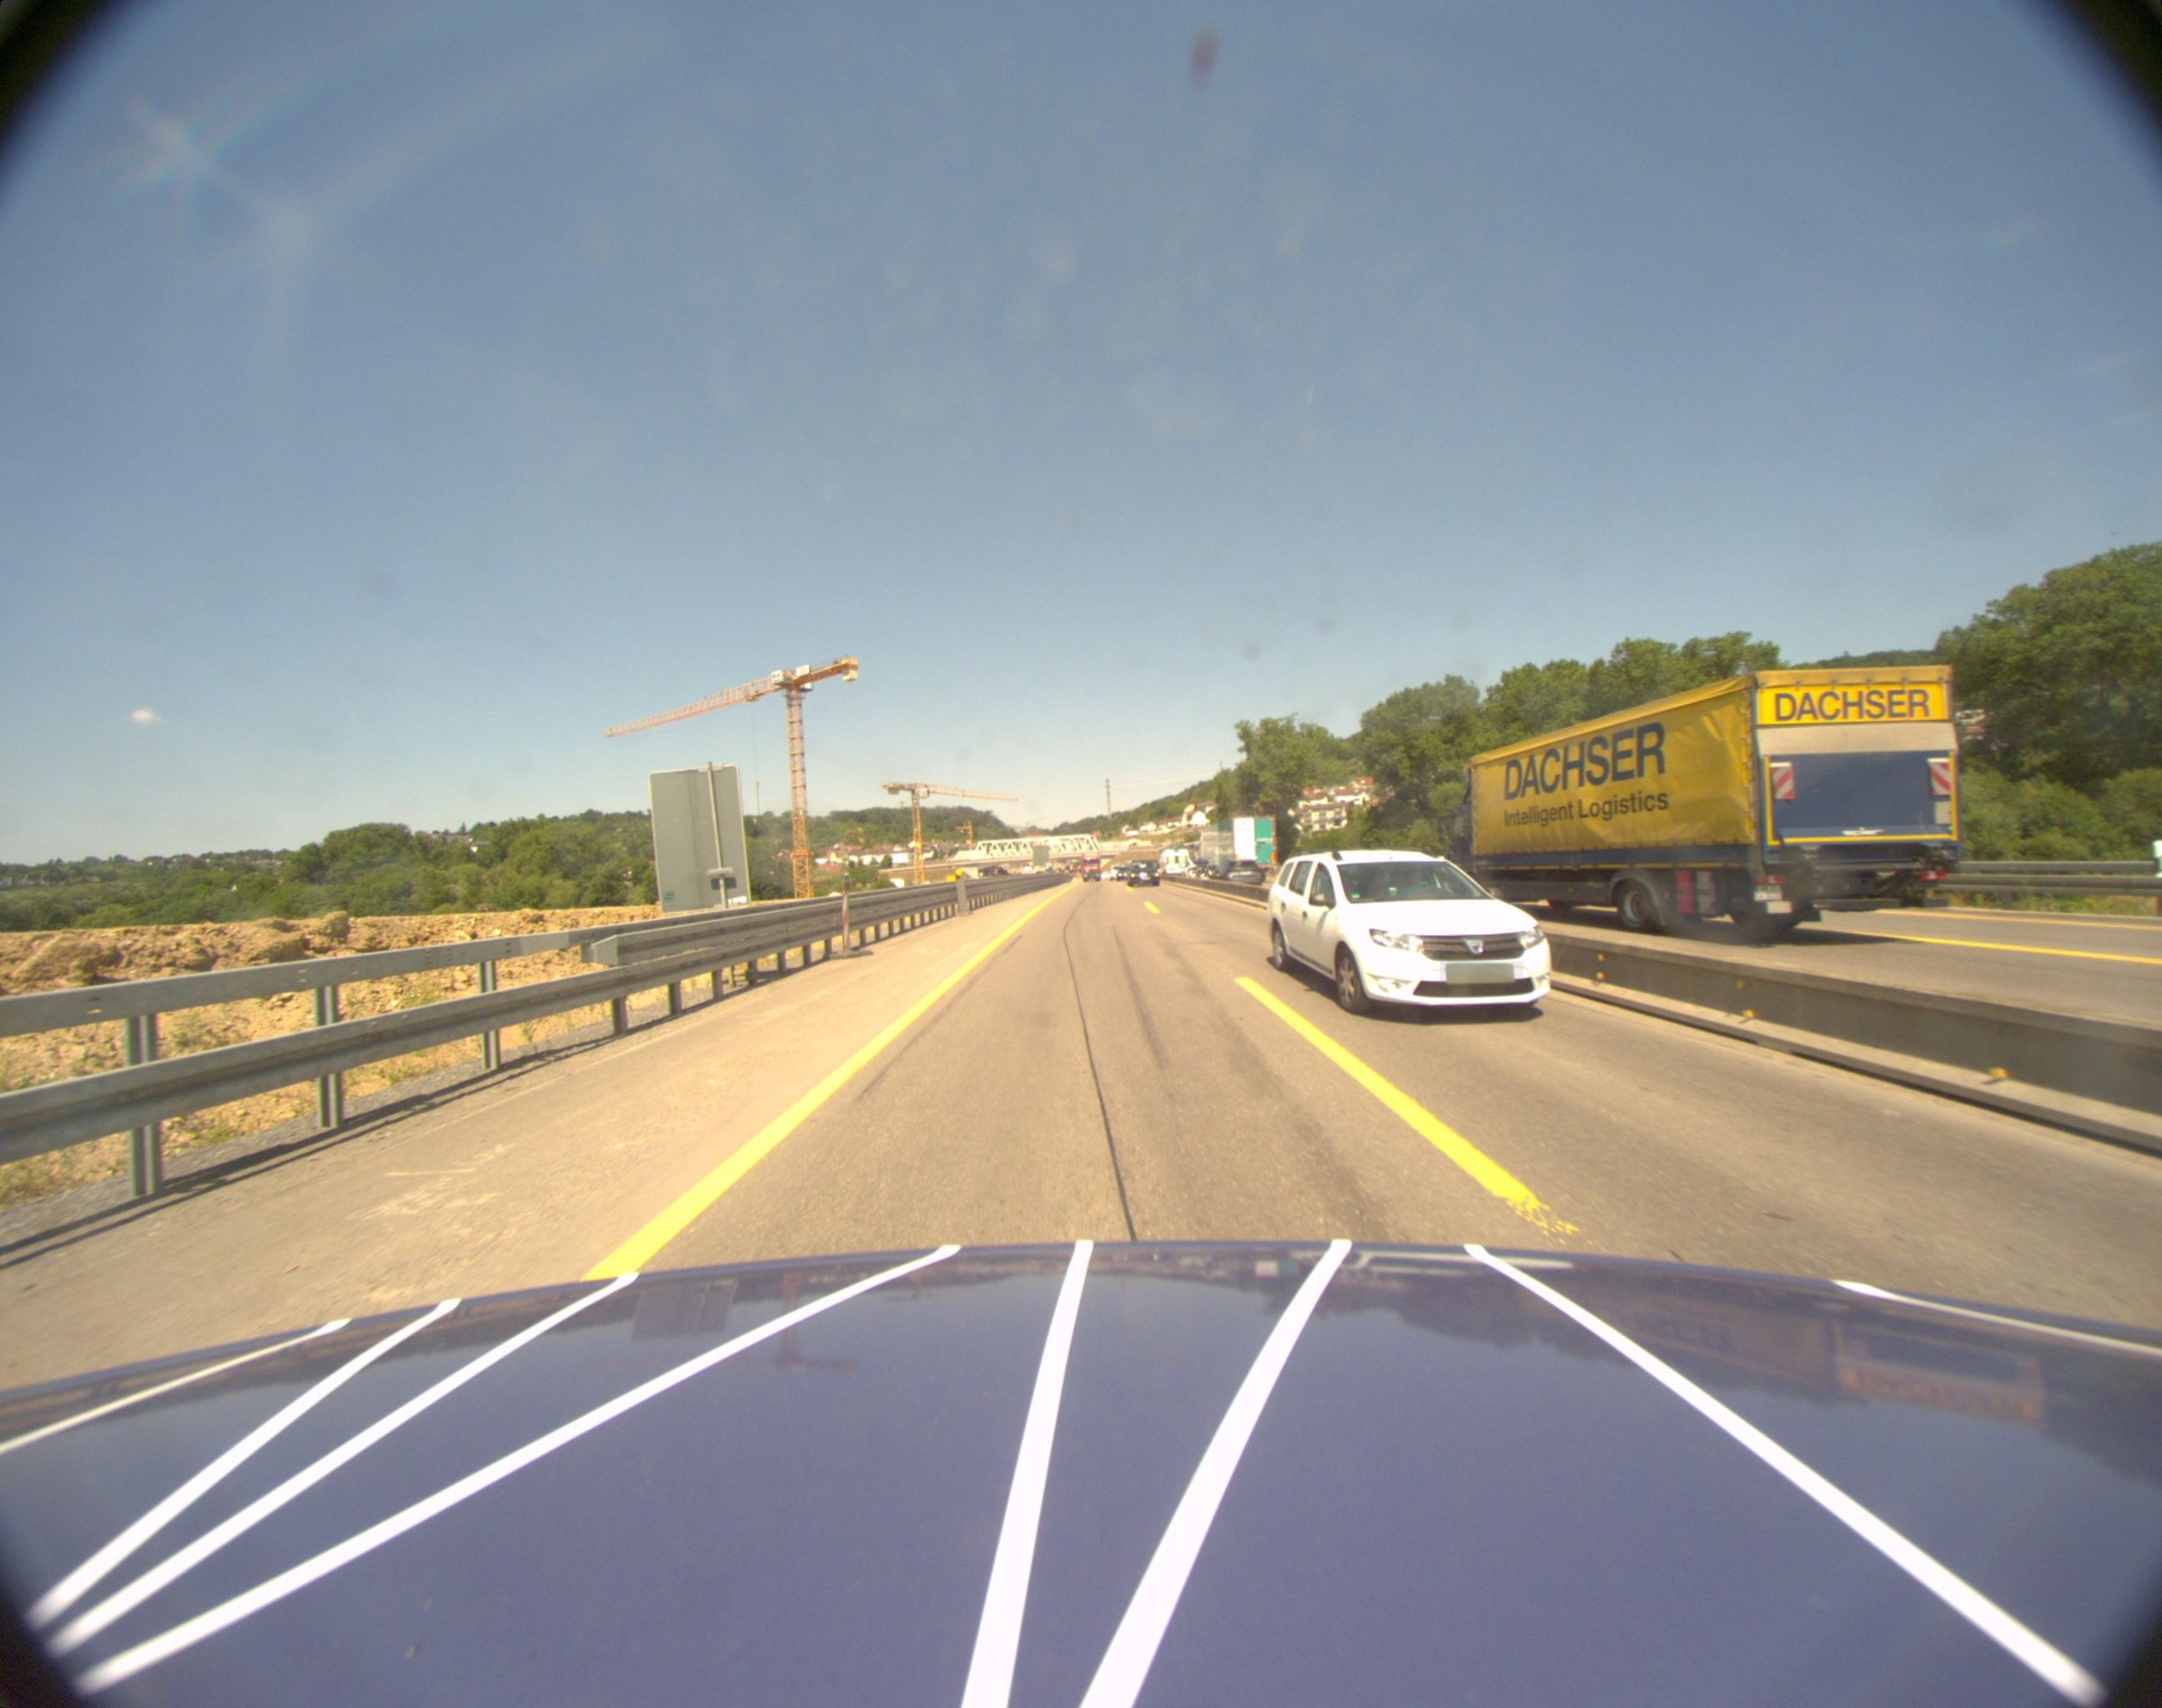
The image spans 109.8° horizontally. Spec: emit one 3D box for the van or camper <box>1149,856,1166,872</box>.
[{"bbox_3d":[13.754,1.860,136.664,2.509,2.682,5.245,-2,-1,1],"label":"van or camper"}]

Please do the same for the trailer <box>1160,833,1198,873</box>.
[{"bbox_3d":[11.762,0.003,92.389,3.109,4.437,13.023,-1,-2,1],"label":"trailer"}]

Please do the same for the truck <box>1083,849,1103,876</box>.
[{"bbox_3d":[1.759,1.291,110.639,2.702,3.704,8.510,-2,-1,2],"label":"truck"}]

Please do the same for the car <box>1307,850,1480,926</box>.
[{"bbox_3d":[6.815,0.681,17.224,1.864,1.485,4.904,0,0,-1],"label":"car"}]

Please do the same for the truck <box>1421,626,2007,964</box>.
[{"bbox_3d":[10.192,-0.702,14.576,2.809,4.127,10.080,-2,0,1],"label":"truck"}]

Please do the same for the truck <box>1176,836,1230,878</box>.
[{"bbox_3d":[12.121,0.399,76.197,2.913,3.741,8.365,-3,-2,-7],"label":"truck"}]

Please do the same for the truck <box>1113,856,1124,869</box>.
[{"bbox_3d":[10.599,2.453,216.588,2.804,3.699,5.374,-2,-1,0],"label":"truck"}]

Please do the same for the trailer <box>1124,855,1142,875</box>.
[{"bbox_3d":[11.478,2.496,169.034,2.814,4.150,11.800,-2,-2,-2],"label":"trailer"}]

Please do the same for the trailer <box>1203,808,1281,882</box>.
[{"bbox_3d":[10.801,-0.455,52.512,2.822,4.404,13.170,-2,-1,1],"label":"trailer"}]

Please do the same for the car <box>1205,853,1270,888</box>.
[{"bbox_3d":[7.081,0.688,34.891,1.887,1.423,5.125,-2,0,0],"label":"car"}]

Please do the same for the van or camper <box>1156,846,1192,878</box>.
[{"bbox_3d":[7.709,0.704,63.909,2.224,2.496,6.535,-2,-1,1],"label":"van or camper"}]

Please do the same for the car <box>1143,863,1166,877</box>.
[{"bbox_3d":[7.863,1.719,81.520,1.998,1.489,4.976,-1,-1,1],"label":"car"}]

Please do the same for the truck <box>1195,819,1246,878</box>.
[{"bbox_3d":[10.942,-0.339,60.106,2.813,4.365,6.227,-2,-1,1],"label":"truck"}]

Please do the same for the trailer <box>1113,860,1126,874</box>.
[{"bbox_3d":[10.707,3.790,212.073,2.801,3.650,8.959,-2,-2,-1],"label":"trailer"}]

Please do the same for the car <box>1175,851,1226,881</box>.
[{"bbox_3d":[7.583,0.821,48.761,2.377,1.715,5.783,-3,-2,1],"label":"car"}]

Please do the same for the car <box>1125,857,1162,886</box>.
[{"bbox_3d":[3.853,1.067,47.762,1.862,1.683,4.097,-2,0,-1],"label":"car"}]

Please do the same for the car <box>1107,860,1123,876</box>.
[{"bbox_3d":[4.266,1.838,95.924,1.791,1.870,4.001,-4,-2,1],"label":"car"}]

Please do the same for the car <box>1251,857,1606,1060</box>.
[{"bbox_3d":[3.273,0.842,8.361,1.823,1.521,4.706,-2,0,2],"label":"car"}]

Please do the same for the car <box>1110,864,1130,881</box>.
[{"bbox_3d":[3.849,1.852,75.703,1.791,1.577,4.001,-4,-2,1],"label":"car"}]
